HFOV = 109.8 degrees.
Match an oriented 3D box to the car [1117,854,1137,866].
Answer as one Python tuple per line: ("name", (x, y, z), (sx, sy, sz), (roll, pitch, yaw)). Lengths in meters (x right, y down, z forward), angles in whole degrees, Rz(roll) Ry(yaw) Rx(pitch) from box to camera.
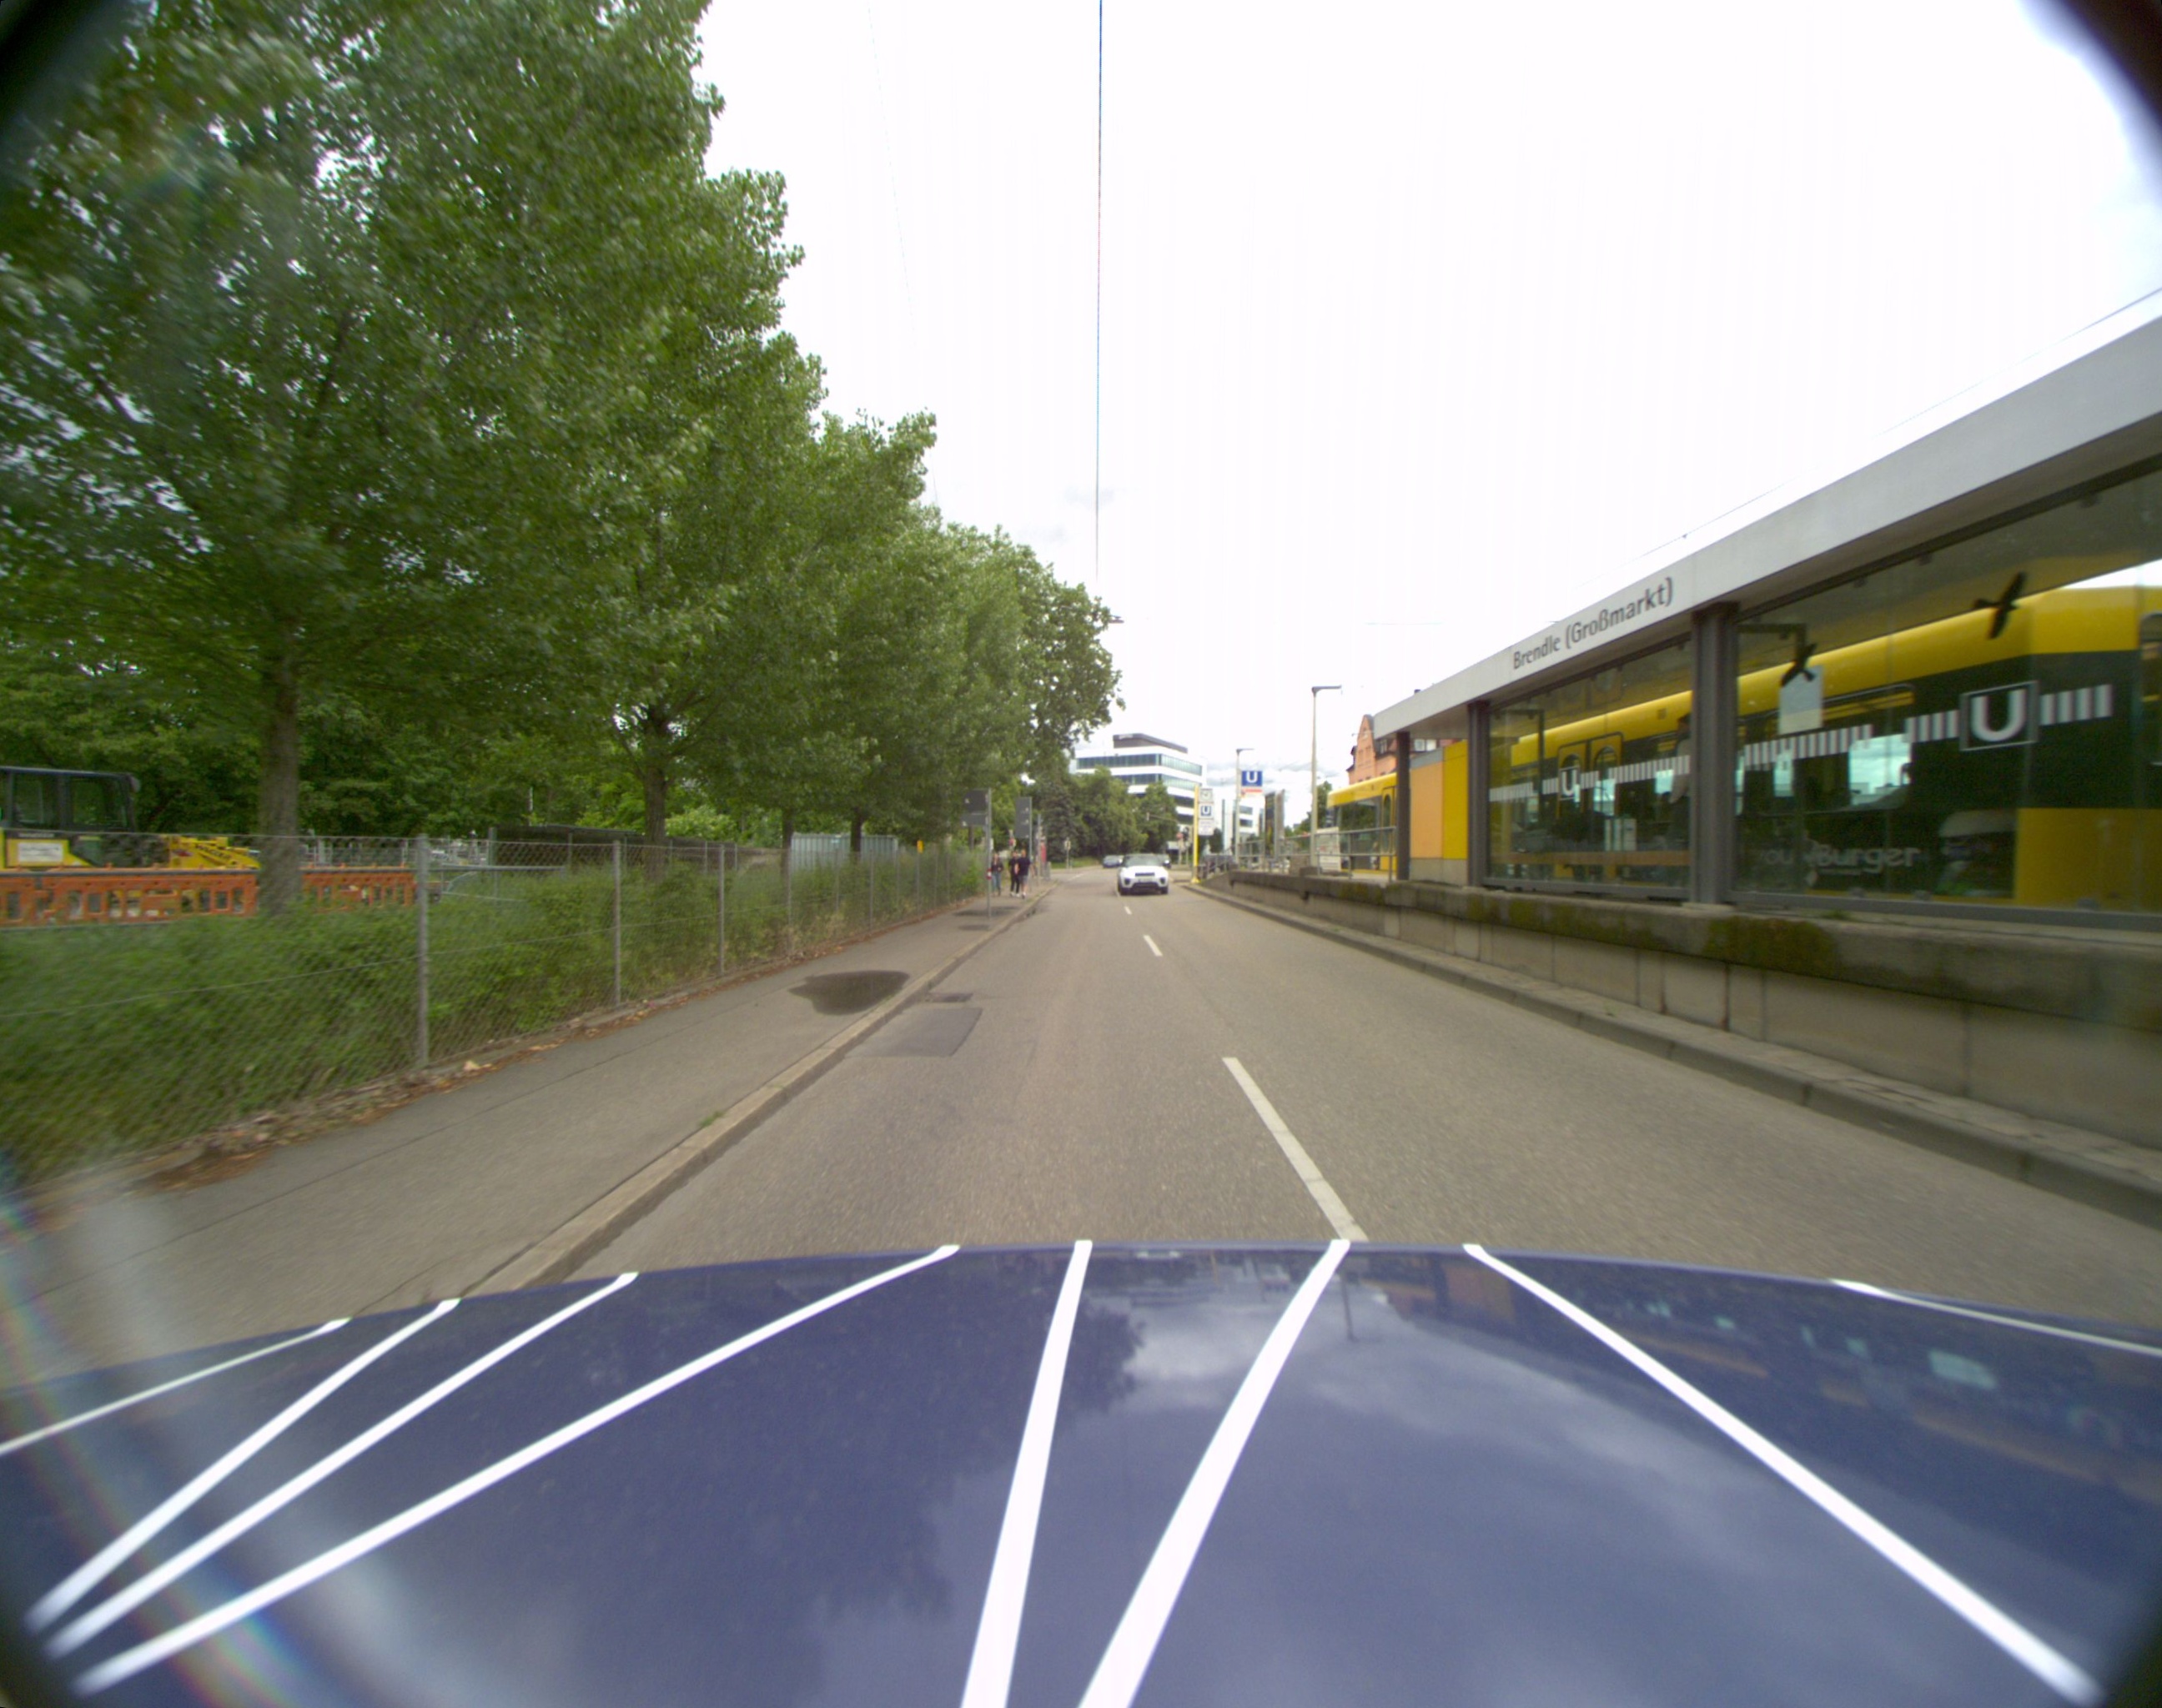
("car", (5.706, 0.690, 93.970), (1.746, 1.418, 4.170), (0, 0, 14))

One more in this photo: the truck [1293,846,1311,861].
("truck", (38.692, -0.065, 132.706), (2.315, 2.407, 5.664), (2, 1, 23))

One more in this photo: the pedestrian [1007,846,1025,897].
("pedestrian", (-2.410, 0.651, 28.211), (0.604, 1.857, 0.671), (0, 1, 2))

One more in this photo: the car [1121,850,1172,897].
("car", (2.624, 0.746, 31.367), (1.915, 1.561, 4.112), (2, 3, 3))

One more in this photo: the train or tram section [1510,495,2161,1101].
("train or tram section", (8.416, -0.342, 6.611), (2.747, 3.943, 11.913), (0, -1, 1))

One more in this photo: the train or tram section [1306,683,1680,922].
("train or tram section", (8.579, -0.788, 18.524), (2.747, 3.943, 11.913), (0, -1, 1))

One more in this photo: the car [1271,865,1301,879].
("car", (26.934, 2.372, 100.007), (1.705, 1.517, 3.991), (-3, 4, -22))

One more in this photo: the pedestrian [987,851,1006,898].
("pedestrian", (-3.143, 0.750, 28.183), (0.604, 1.681, 0.671), (0, 4, 2))

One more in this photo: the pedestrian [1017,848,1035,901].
("pedestrian", (-1.977, 0.721, 27.434), (0.604, 1.858, 0.671), (0, 4, 2))

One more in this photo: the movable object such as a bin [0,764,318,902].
("movable object such as a bin", (-16.141, -0.410, 12.674), (1.995, 2.003, 4.300), (2, 4, 25))
